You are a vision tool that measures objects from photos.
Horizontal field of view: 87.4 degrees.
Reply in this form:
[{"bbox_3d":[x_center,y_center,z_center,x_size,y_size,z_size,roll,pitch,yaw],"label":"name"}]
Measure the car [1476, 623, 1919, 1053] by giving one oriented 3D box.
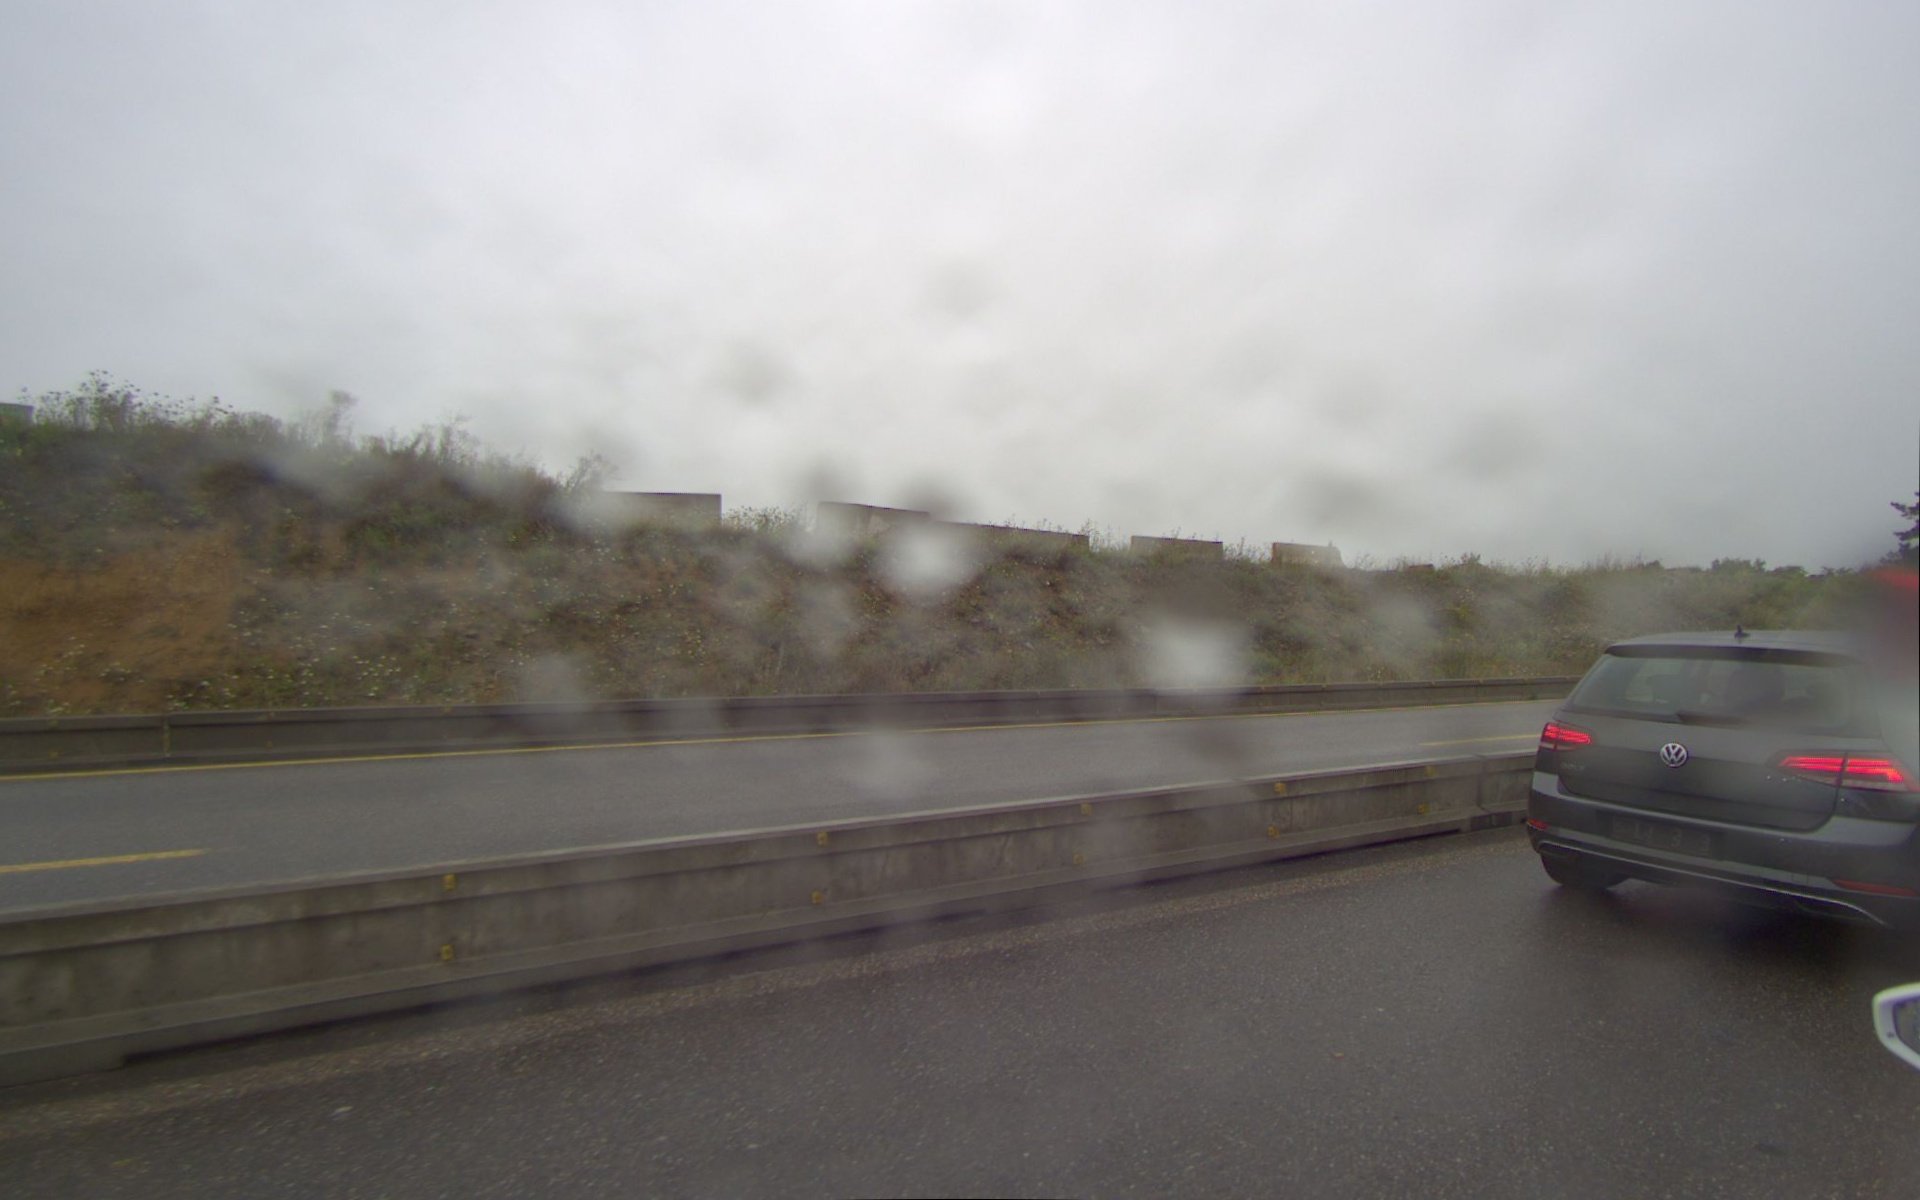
[{"bbox_3d":[4.816,0.931,5.396,4.318,1.526,1.606,2,-3,-31],"label":"car"}]
